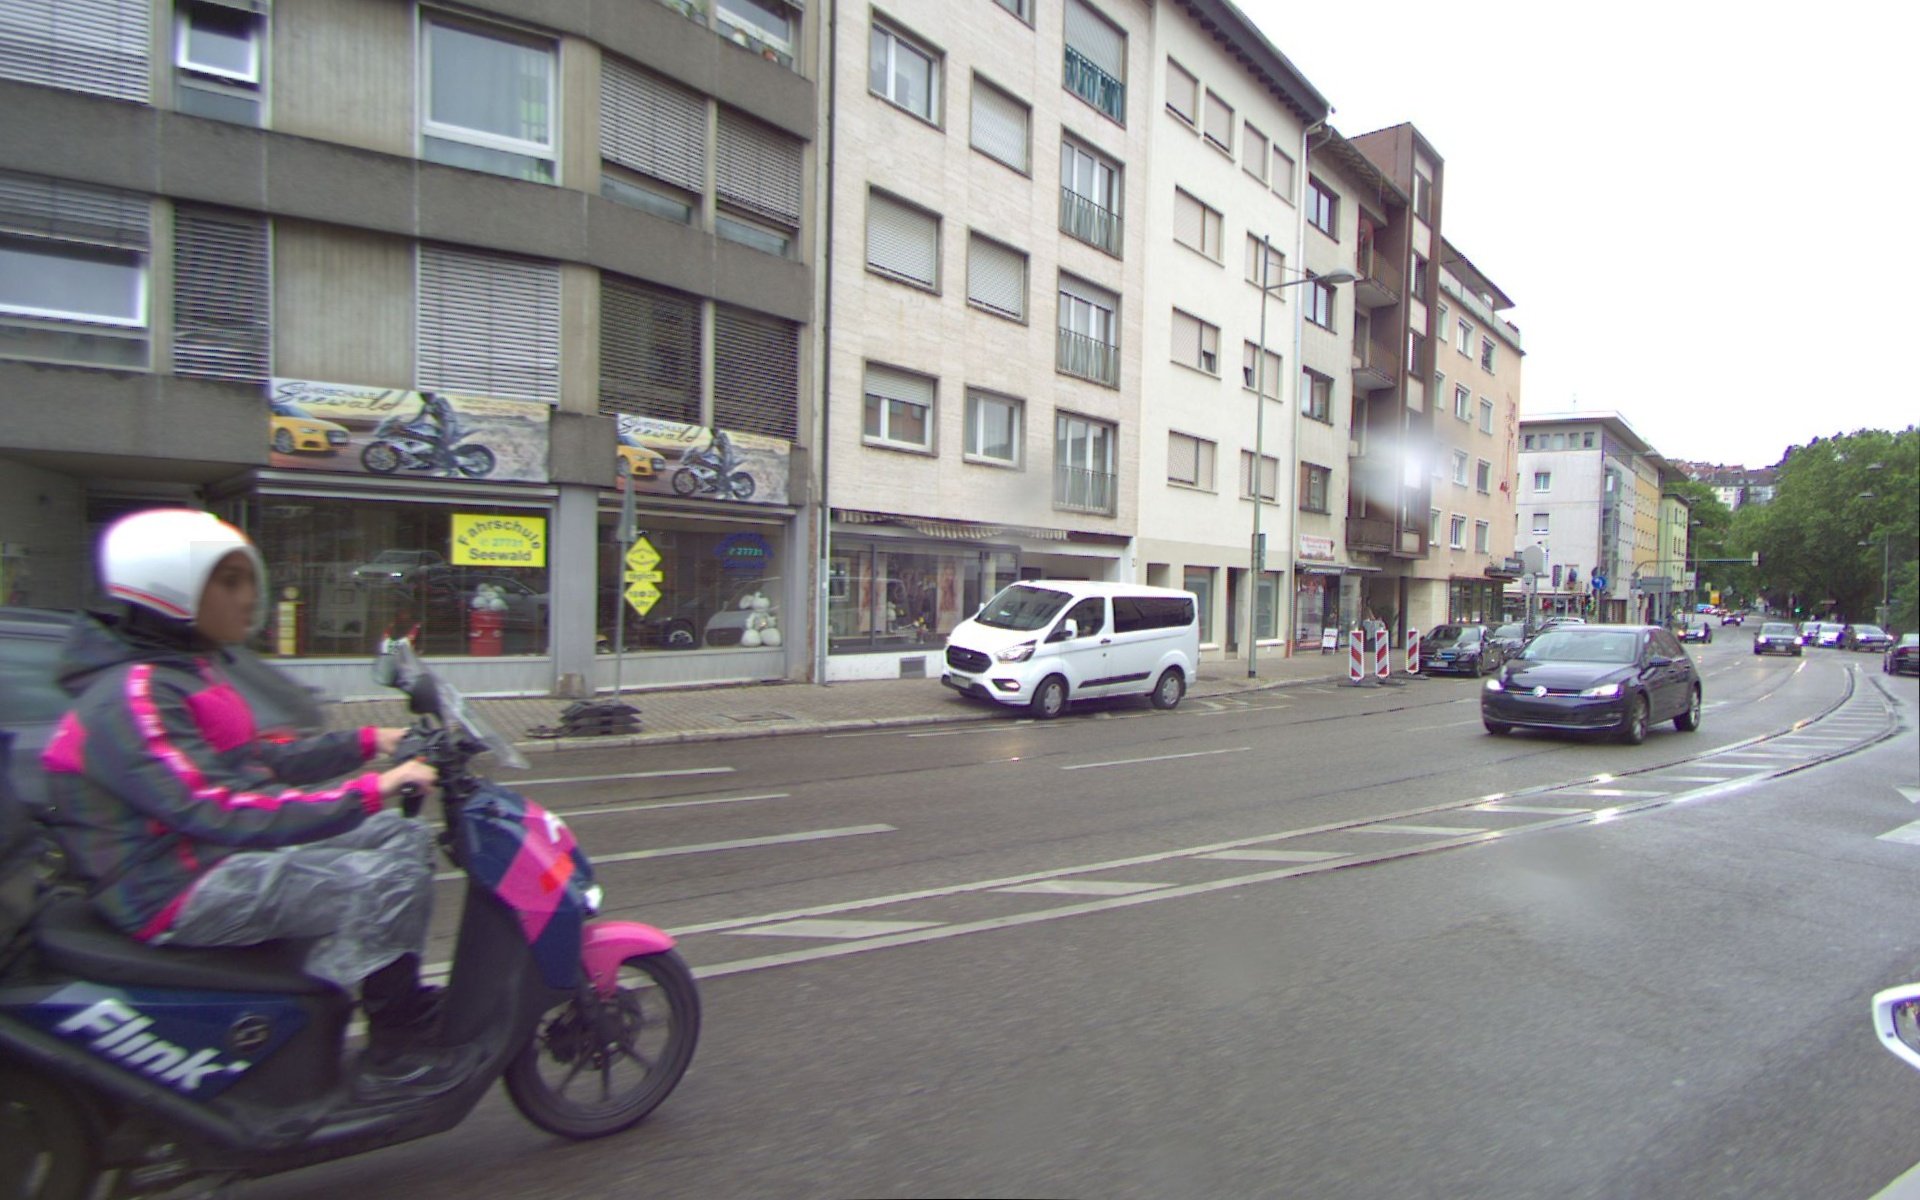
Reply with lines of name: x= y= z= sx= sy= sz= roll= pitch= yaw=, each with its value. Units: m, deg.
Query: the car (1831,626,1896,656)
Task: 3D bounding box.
car: x=53.420 y=2.392 z=59.466 sx=1.828 sy=1.574 sz=4.220 roll=2 pitch=0 yaw=28

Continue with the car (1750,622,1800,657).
car: x=42.036 y=1.995 z=51.853 sx=1.839 sy=1.669 sz=4.237 roll=1 pitch=-1 yaw=37

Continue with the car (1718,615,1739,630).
car: x=104.541 y=3.046 z=136.634 sx=1.969 sy=1.885 sz=3.982 roll=5 pitch=3 yaw=39

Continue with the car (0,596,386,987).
car: x=-4.964 y=0.715 z=4.077 sx=4.440 sy=1.478 sz=1.971 roll=1 pitch=-1 yaw=-34

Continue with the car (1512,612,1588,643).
car: x=39.201 y=1.783 z=66.836 sx=3.920 sy=1.729 sz=1.687 roll=3 pitch=2 yaw=4

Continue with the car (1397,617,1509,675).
car: x=14.268 y=1.261 z=28.907 sx=1.859 sy=1.496 sz=4.958 roll=1 pitch=-1 yaw=39

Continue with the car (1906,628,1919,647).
car: x=79.025 y=3.095 z=82.256 sx=1.691 sy=1.461 sz=4.069 roll=0 pitch=0 yaw=35

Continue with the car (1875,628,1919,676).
car: x=32.618 y=1.783 z=34.070 sx=1.969 sy=1.406 sz=4.480 roll=5 pitch=3 yaw=39

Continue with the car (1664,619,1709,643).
car: x=51.659 y=2.225 z=71.393 sx=3.968 sy=1.648 sz=1.678 roll=2 pitch=-1 yaw=-41

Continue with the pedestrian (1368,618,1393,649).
pedestrian: x=16.722 y=1.328 z=39.973 sx=0.586 sy=1.163 sz=0.671 roll=2 pitch=1 yaw=-21

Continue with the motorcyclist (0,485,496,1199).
motorcyclist: x=-1.665 y=0.566 z=2.330 sx=0.857 sy=1.513 sz=0.908 roll=2 pitch=-1 yaw=-38

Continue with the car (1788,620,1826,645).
car: x=58.564 y=2.246 z=69.522 sx=1.798 sy=1.630 sz=4.412 roll=2 pitch=0 yaw=38

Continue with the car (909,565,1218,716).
car: x=1.847 y=0.656 z=16.685 sx=5.089 sy=2.041 sz=2.100 roll=3 pitch=2 yaw=-41

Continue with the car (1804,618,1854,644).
car: x=55.685 y=1.992 z=64.411 sx=1.908 sy=1.547 sz=4.123 roll=2 pitch=0 yaw=34

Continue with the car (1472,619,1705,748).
car: x=8.565 y=1.015 z=13.556 sx=3.971 sy=1.492 sz=1.668 roll=2 pitch=-2 yaw=-42

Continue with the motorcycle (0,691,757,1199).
motorcycle: x=-1.581 y=0.868 z=2.404 sx=2.083 sy=1.207 sz=0.582 roll=2 pitch=-1 yaw=-38

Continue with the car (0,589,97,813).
car: x=-7.897 y=0.615 z=6.239 sx=3.553 sy=1.418 sz=1.713 roll=1 pitch=-1 yaw=-31

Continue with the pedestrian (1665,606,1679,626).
pedestrian: x=67.088 y=1.487 z=94.664 sx=0.855 sy=1.812 sz=0.871 roll=6 pitch=3 yaw=40

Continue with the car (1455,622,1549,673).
car: x=17.919 y=1.505 z=33.101 sx=1.969 sy=1.497 sz=4.499 roll=1 pitch=0 yaw=38

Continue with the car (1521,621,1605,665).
car: x=23.426 y=1.638 z=38.950 sx=1.887 sy=1.575 sz=4.604 roll=1 pitch=-1 yaw=43

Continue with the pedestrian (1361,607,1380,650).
pedestrian: x=15.649 y=1.082 z=38.305 sx=0.534 sy=1.604 sz=0.668 roll=3 pitch=1 yaw=28

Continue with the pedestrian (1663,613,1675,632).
pedestrian: x=62.388 y=2.001 z=88.399 sx=0.679 sy=1.602 sz=0.648 roll=6 pitch=4 yaw=41
